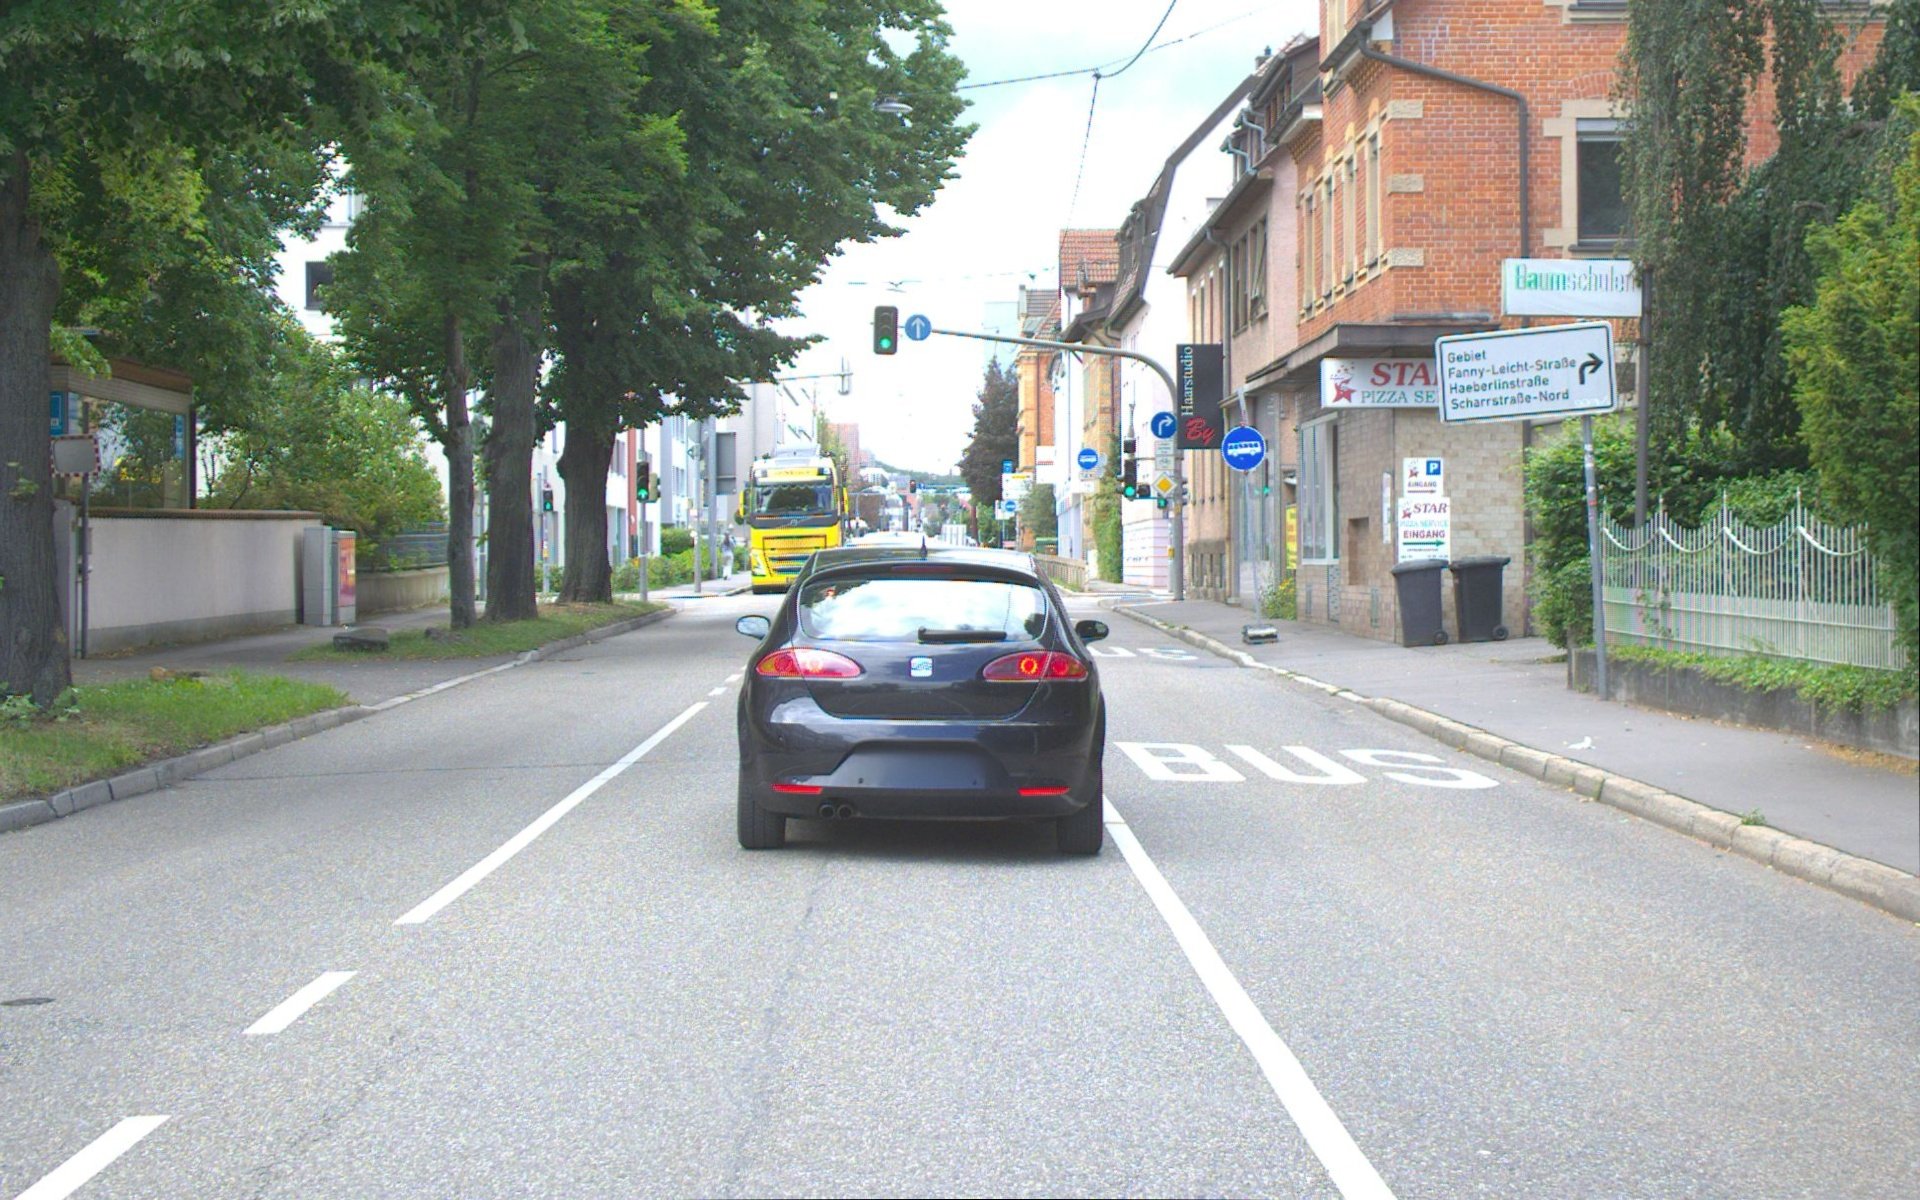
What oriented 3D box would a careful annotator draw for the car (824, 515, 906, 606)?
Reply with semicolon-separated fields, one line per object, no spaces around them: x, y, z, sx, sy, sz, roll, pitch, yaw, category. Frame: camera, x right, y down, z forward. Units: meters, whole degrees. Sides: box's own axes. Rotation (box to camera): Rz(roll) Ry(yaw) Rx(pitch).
-1.821;-0.764;66.541;1.531;1.687;3.693;1;1;-1;car

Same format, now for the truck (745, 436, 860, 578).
-4.373;-2.559;96.561;2.843;3.769;7.669;1;1;0;truck

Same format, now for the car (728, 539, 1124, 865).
-0.175;0.431;17.410;1.759;1.437;4.000;1;1;-1;car

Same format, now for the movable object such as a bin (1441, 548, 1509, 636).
6.384;-0.107;42.633;0.698;1.055;0.723;-2;1;0;movable object such as a bin

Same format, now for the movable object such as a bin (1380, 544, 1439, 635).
5.566;-0.138;42.602;0.606;1.097;0.622;-2;1;0;movable object such as a bin

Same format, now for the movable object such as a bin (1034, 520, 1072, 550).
4.590;-3.211;170.543;1.818;1.432;1.993;1;1;0;movable object such as a bin

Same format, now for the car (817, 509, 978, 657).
-0.754;-0.223;41.840;1.842;1.687;4.000;1;1;-1;car
